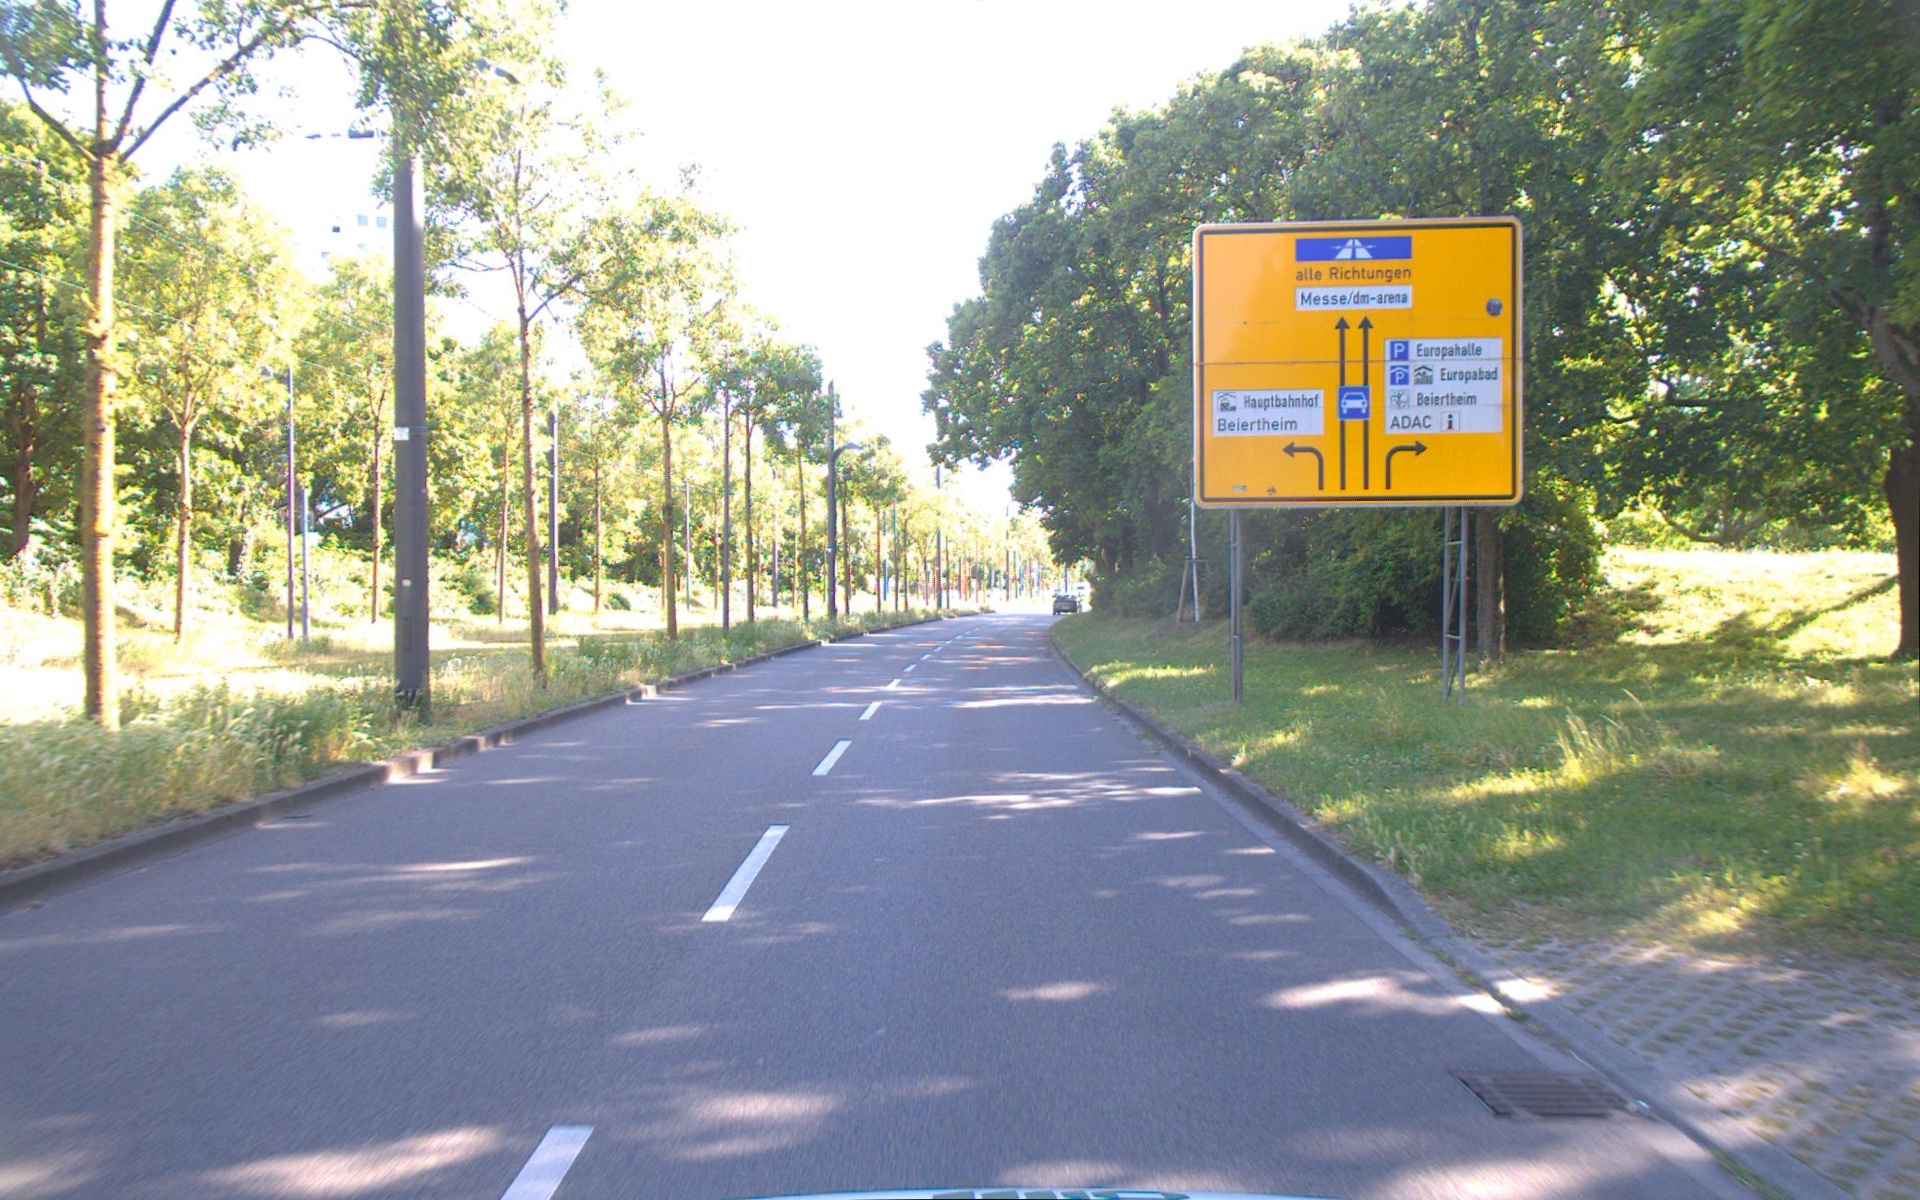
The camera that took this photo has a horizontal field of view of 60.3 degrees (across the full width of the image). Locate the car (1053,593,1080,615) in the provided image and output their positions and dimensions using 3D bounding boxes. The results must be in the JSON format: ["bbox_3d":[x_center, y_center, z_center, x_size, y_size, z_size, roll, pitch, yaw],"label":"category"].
[{"bbox_3d":[7.349,0.261,114.070,1.599,1.524,4.238,0,0,7],"label":"car"}]
